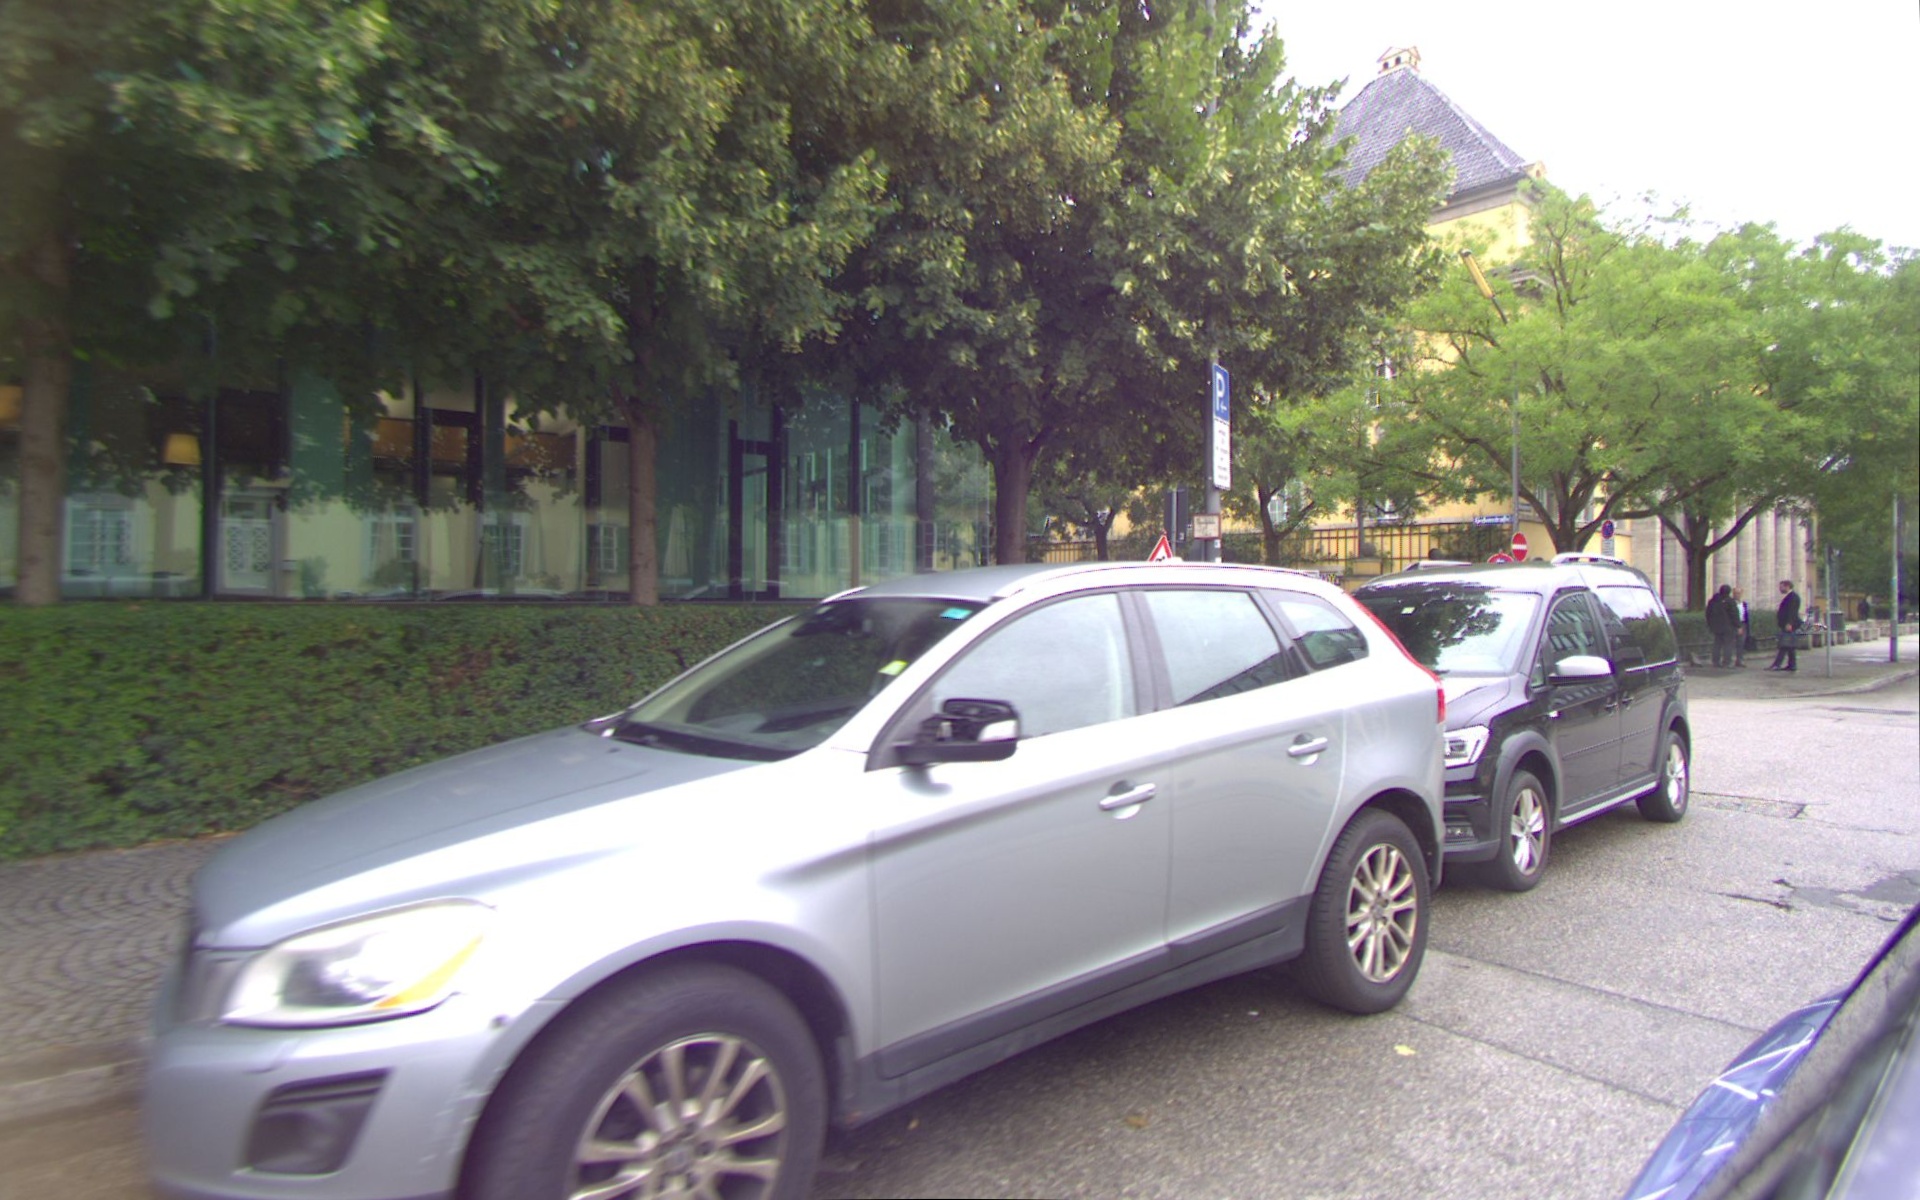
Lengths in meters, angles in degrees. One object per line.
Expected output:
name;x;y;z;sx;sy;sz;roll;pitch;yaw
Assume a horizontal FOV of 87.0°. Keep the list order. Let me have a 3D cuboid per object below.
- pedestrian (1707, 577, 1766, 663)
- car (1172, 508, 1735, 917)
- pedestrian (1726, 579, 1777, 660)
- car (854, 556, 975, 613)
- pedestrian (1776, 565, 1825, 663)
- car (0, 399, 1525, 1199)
pedestrian;16.761;0.422;21.855;0.680;1.808;0.891;-1;-1;15
car;3.440;0.506;6.644;4.272;1.831;1.813;0;-1;-41
pedestrian;17.683;0.423;22.630;0.691;1.781;0.681;-1;-1;20
car;-1.876;-0.551;39.557;1.962;2.091;5.664;0;0;-35
pedestrian;17.828;0.291;21.483;0.685;2.039;0.884;-1;-1;35
car;-0.047;0.591;3.522;4.698;1.713;1.872;0;-1;-39
